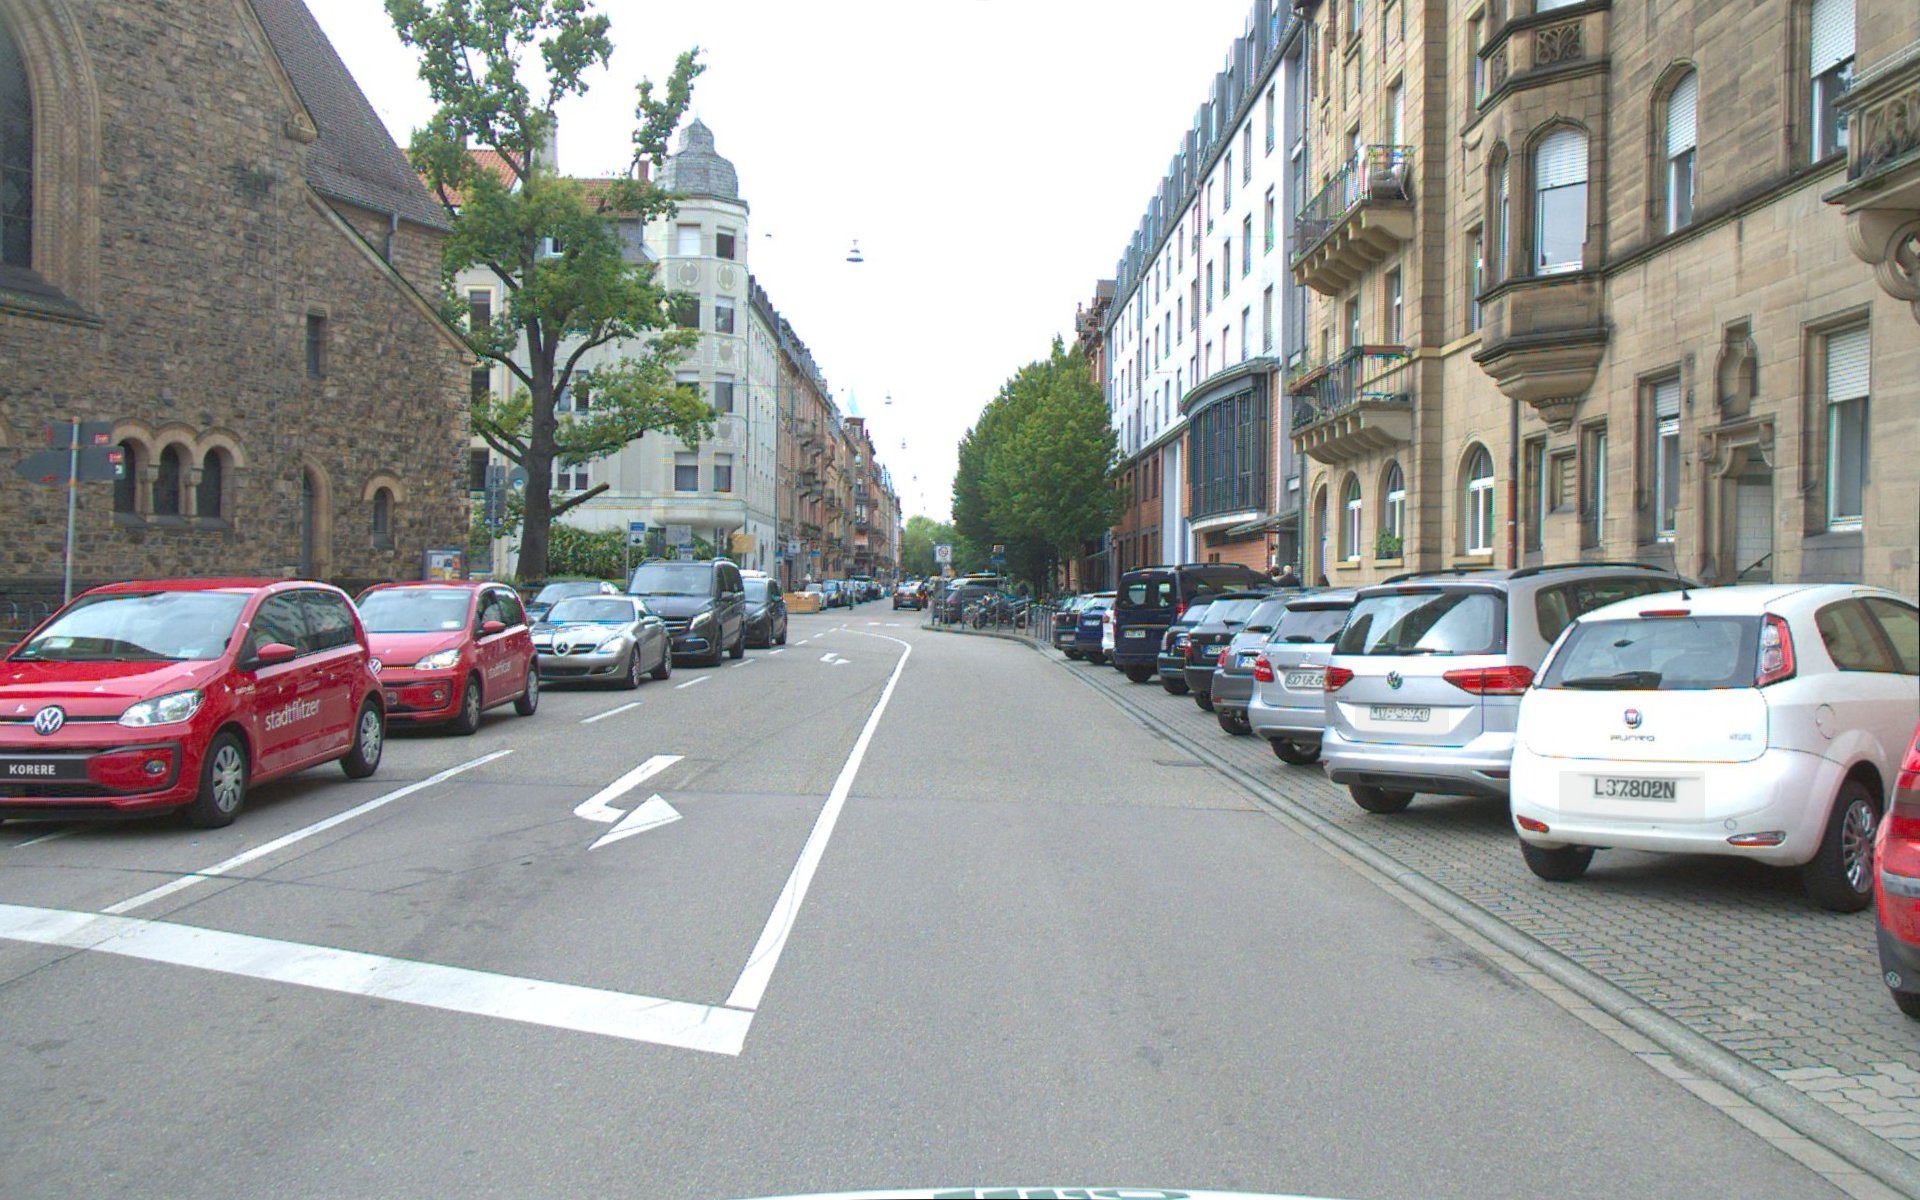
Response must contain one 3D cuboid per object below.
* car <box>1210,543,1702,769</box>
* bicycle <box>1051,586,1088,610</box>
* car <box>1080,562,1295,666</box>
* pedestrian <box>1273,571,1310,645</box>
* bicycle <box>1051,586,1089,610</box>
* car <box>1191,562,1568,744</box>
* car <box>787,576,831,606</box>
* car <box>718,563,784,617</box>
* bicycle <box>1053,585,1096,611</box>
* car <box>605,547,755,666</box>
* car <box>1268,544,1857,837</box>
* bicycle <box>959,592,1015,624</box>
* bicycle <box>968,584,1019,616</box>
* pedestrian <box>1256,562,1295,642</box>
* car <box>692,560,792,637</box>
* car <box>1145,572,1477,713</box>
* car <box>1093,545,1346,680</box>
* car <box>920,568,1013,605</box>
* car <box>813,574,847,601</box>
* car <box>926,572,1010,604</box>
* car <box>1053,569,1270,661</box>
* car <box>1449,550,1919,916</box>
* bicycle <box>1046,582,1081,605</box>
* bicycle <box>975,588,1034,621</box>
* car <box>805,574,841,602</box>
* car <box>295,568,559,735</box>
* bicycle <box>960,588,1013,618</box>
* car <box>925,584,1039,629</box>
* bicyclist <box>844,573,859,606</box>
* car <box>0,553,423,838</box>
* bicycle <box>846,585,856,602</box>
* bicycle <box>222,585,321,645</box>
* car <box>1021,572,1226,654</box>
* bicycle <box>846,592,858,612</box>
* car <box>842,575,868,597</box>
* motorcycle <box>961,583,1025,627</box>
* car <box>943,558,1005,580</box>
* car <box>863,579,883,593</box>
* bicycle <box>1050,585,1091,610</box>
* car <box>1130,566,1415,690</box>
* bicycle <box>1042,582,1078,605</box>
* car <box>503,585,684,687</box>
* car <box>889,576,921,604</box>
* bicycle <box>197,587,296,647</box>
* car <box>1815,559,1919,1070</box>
[{"bbox_3d":[4.654,0.407,15.190,4.702,1.714,1.911,-2,0,-37],"label":"car"},{"bbox_3d":[5.144,-0.094,77.784,1.717,1.111,0.565,1,-1,-1],"label":"bicycle"},{"bbox_3d":[4.229,0.205,30.425,3.965,1.629,1.739,-4,3,-41],"label":"car"},{"bbox_3d":[7.067,0.179,35.266,0.558,1.556,0.545,2,-1,-43],"label":"pedestrian"},{"bbox_3d":[5.123,-0.095,76.899,1.717,1.111,0.565,1,-1,-1],"label":"bicycle"},{"bbox_3d":[4.671,0.479,18.075,4.424,1.601,1.722,-4,2,-40],"label":"car"},{"bbox_3d":[-8.257,-0.494,90.817,1.904,1.580,3.818,-1,0,2],"label":"car"},{"bbox_3d":[-7.942,-0.400,63.207,1.805,1.973,4.549,1,1,1],"label":"car"},{"bbox_3d":[5.137,-0.098,74.160,1.894,1.111,0.577,1,-1,-1],"label":"bicycle"},{"bbox_3d":[-5.088,0.068,30.768,1.873,1.988,5.284,1,1,0],"label":"car"},{"bbox_3d":[4.374,0.507,11.798,4.176,1.712,1.893,-2,0,-35],"label":"car"},{"bbox_3d":[0.926,0.277,57.686,1.891,1.061,0.611,-1,-1,-4],"label":"bicycle"},{"bbox_3d":[1.242,0.017,61.328,1.846,1.161,0.611,-1,-1,-4],"label":"bicycle"},{"bbox_3d":[7.169,0.038,37.556,0.617,1.784,0.811,-3,1,-4],"label":"pedestrian"},{"bbox_3d":[-5.166,-0.066,39.697,1.807,1.713,4.548,1,1,0],"label":"car"},{"bbox_3d":[4.568,0.465,21.185,4.423,1.579,1.825,-2,1,-40],"label":"car"},{"bbox_3d":[4.341,0.142,27.292,4.247,1.939,1.851,-4,3,-42],"label":"car"},{"bbox_3d":[0.409,-0.833,99.269,5.560,2.164,1.927,-1,0,-35],"label":"car"},{"bbox_3d":[-8.442,-0.804,107.494,1.904,1.645,3.942,1,0,-1],"label":"car"},{"bbox_3d":[0.552,-0.808,107.380,5.341,2.027,1.927,-1,0,-35],"label":"car"},{"bbox_3d":[4.051,0.257,33.133,3.946,1.560,1.913,-4,2,-30],"label":"car"},{"bbox_3d":[4.483,0.553,9.117,3.559,1.534,1.821,-4,1,-42],"label":"car"},{"bbox_3d":[5.131,-0.327,82.170,1.717,1.111,0.565,1,-1,-1],"label":"bicycle"},{"bbox_3d":[1.525,0.154,56.913,1.969,1.081,0.611,-1,-1,-4],"label":"bicycle"},{"bbox_3d":[-8.435,-0.756,102.020,1.904,1.645,3.942,1,0,-1],"label":"car"},{"bbox_3d":[-5.341,0.470,17.044,1.570,1.482,3.717,-2,0,-2],"label":"car"},{"bbox_3d":[0.955,0.104,59.324,1.846,1.061,0.611,-1,-1,-4],"label":"bicycle"},{"bbox_3d":[0.875,0.235,65.639,4.236,1.606,1.841,-2,1,-34],"label":"car"},{"bbox_3d":[-6.287,-0.632,95.995,0.766,1.898,0.714,1,0,1],"label":"bicyclist"},{"bbox_3d":[-5.072,0.490,11.125,1.615,1.554,3.894,-2,1,0],"label":"car"},{"bbox_3d":[-6.631,-0.379,101.027,0.524,0.994,1.864,1,-1,-1],"label":"bicycle"},{"bbox_3d":[-14.110,0.306,33.907,1.740,1.187,0.742,1,0,12],"label":"bicycle"},{"bbox_3d":[3.591,0.248,36.232,4.194,1.504,1.671,-3,2,-25],"label":"car"},{"bbox_3d":[-6.257,0.119,95.884,0.556,1.106,1.987,1,1,1],"label":"bicycle"},{"bbox_3d":[-8.596,-1.143,135.580,1.904,1.772,3.942,1,0,-1],"label":"car"},{"bbox_3d":[1.107,0.157,55.813,2.092,1.454,0.770,-1,-1,-4],"label":"motorcycle"},{"bbox_3d":[1.270,-2.787,147.823,5.331,1.900,1.930,-1,0,-31],"label":"car"},{"bbox_3d":[-8.891,-1.422,168.116,1.954,1.344,3.996,1,-1,-4],"label":"car"},{"bbox_3d":[5.058,-0.102,75.574,1.799,1.111,0.542,1,-1,-1],"label":"bicycle"},{"bbox_3d":[4.660,0.376,24.451,4.033,1.478,2.003,-5,2,-40],"label":"car"},{"bbox_3d":[5.001,-0.323,82.844,1.717,1.111,0.565,1,-1,-1],"label":"bicycle"},{"bbox_3d":[-5.213,0.474,24.037,1.669,1.309,4.042,-2,0,0],"label":"car"},{"bbox_3d":[-3.450,-0.624,104.389,1.953,1.710,3.998,1,-1,-2],"label":"car"},{"bbox_3d":[-14.286,0.335,33.117,1.740,1.150,0.662,1,0,12],"label":"bicycle"},{"bbox_3d":[4.753,0.571,6.192,1.763,1.588,3.811,-3,1,43],"label":"car"}]
